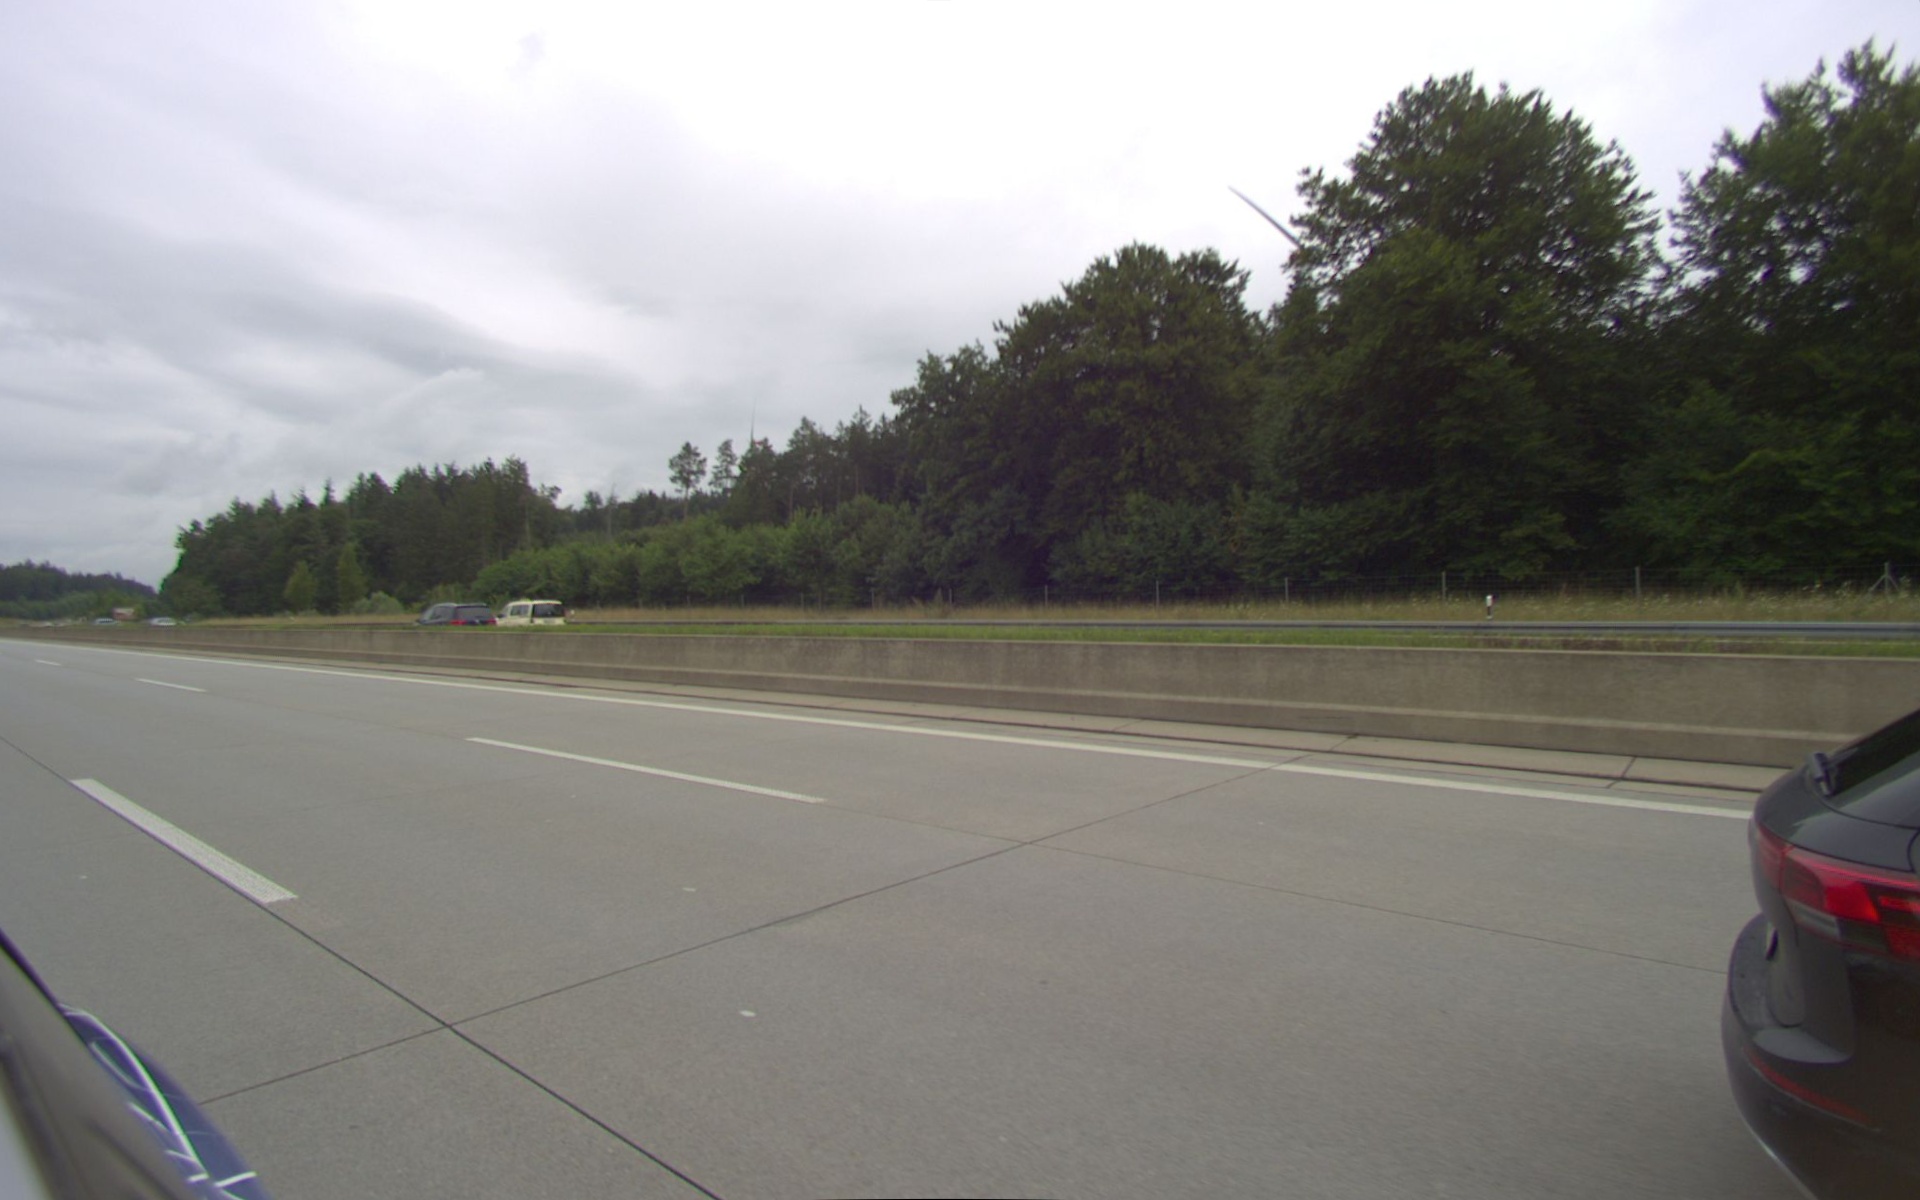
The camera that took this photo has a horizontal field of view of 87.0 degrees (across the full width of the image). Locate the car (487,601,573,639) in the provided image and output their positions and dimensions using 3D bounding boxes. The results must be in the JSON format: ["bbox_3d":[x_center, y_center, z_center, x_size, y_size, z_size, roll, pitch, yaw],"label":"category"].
[{"bbox_3d":[-19.559,0.925,45.988,4.150,1.641,1.973,-2,-1,41],"label":"car"}]

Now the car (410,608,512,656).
[{"bbox_3d":[-18.363,1.157,37.170,3.998,1.641,1.973,-2,-1,41],"label":"car"}]

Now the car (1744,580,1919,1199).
[{"bbox_3d":[3.635,0.628,0.966,4.481,1.409,1.734,-1,0,41],"label":"car"}]

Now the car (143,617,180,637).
[{"bbox_3d":[-69.496,2.337,88.016,3.932,1.641,1.832,-1,0,41],"label":"car"}]
